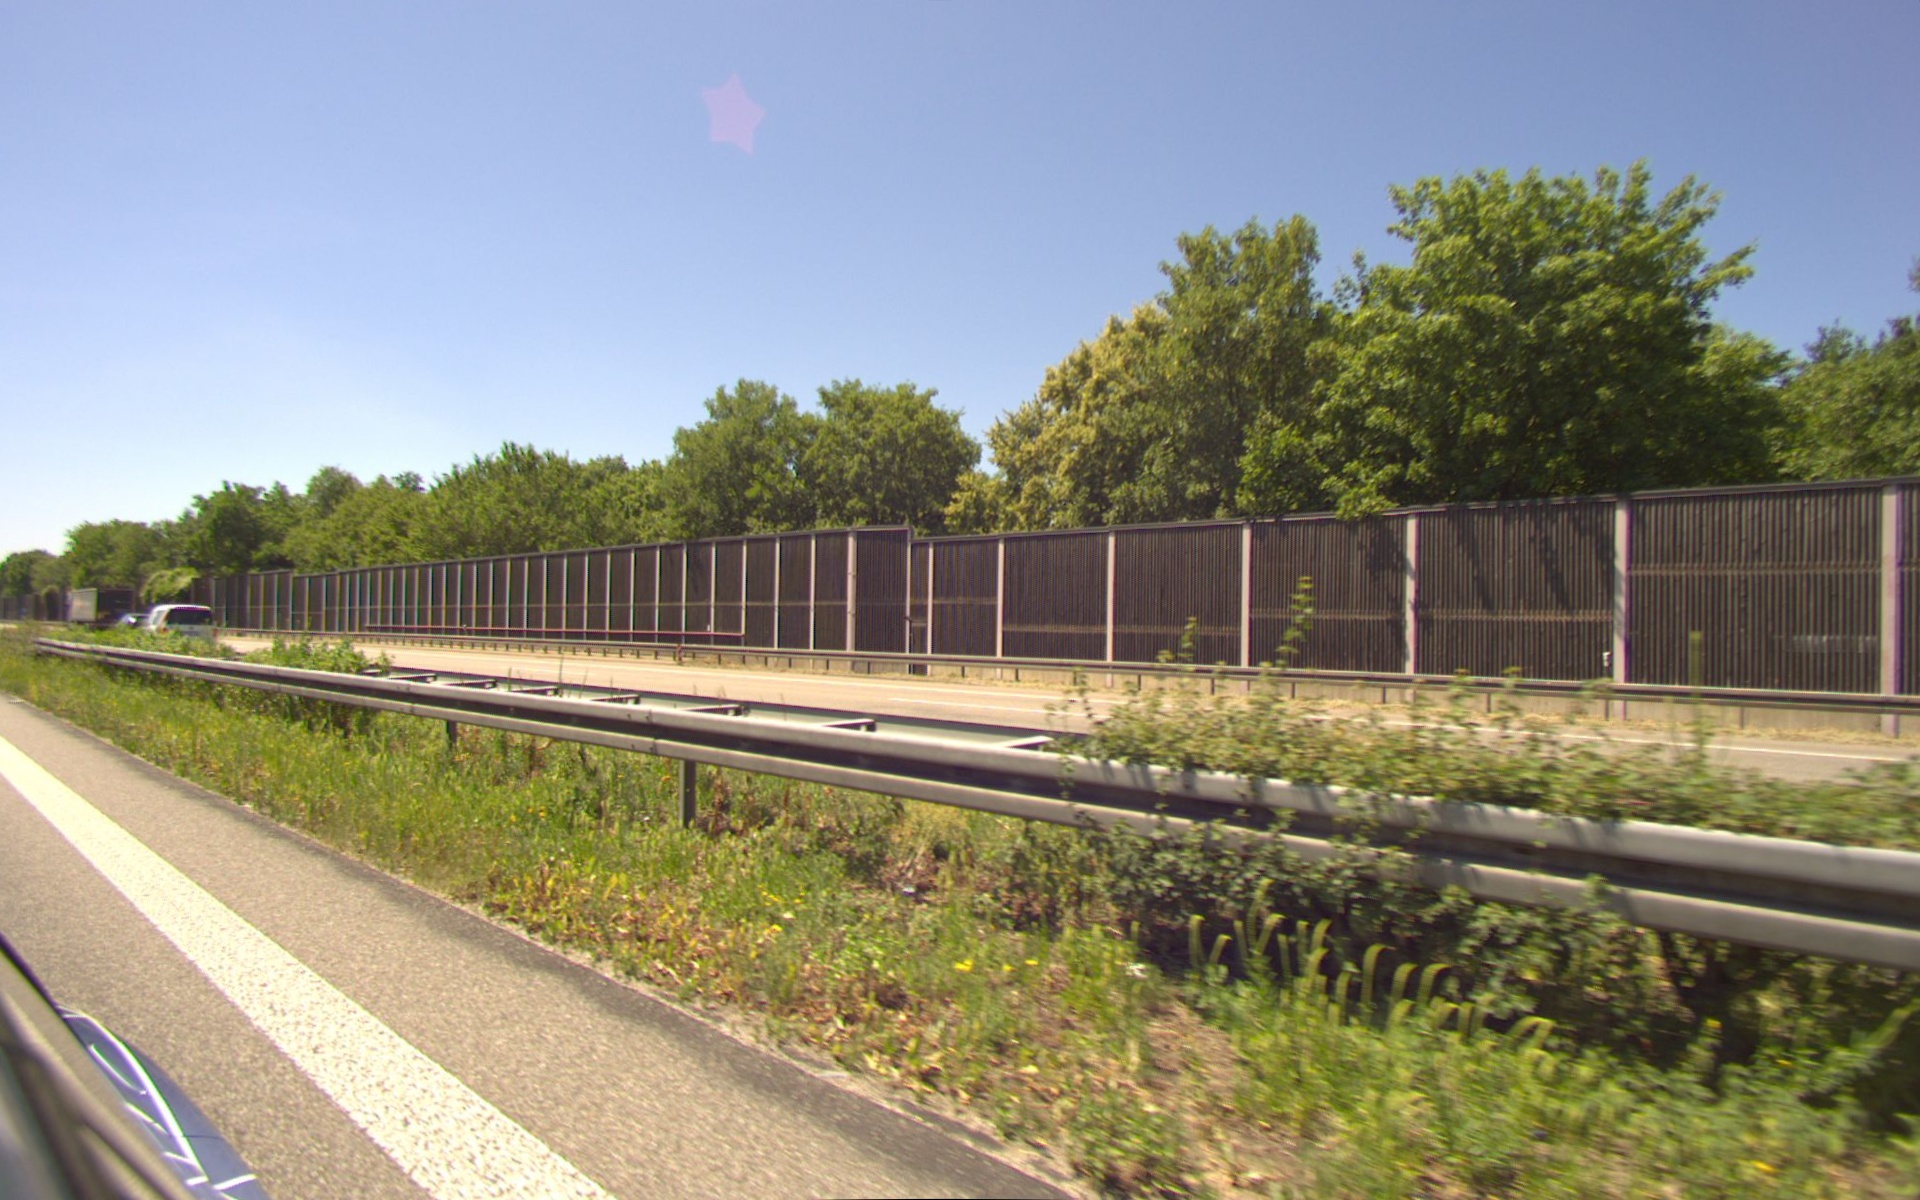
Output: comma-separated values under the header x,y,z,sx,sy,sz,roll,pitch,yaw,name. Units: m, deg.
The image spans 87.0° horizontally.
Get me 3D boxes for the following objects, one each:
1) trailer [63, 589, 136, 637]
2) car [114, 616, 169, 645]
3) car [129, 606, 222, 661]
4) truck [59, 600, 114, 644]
x,y,z,sx,sy,sz,roll,pitch,yaw,name
-79.678,1.246,93.557,13.870,4.039,3.084,-1,-3,42,trailer
-50.977,1.856,63.014,4.546,1.705,1.861,-1,-1,40,car
-28.271,1.178,36.429,4.557,1.854,1.764,-1,-2,41,car
-84.418,2.142,97.751,6.188,4.039,3.060,-1,-4,41,truck
